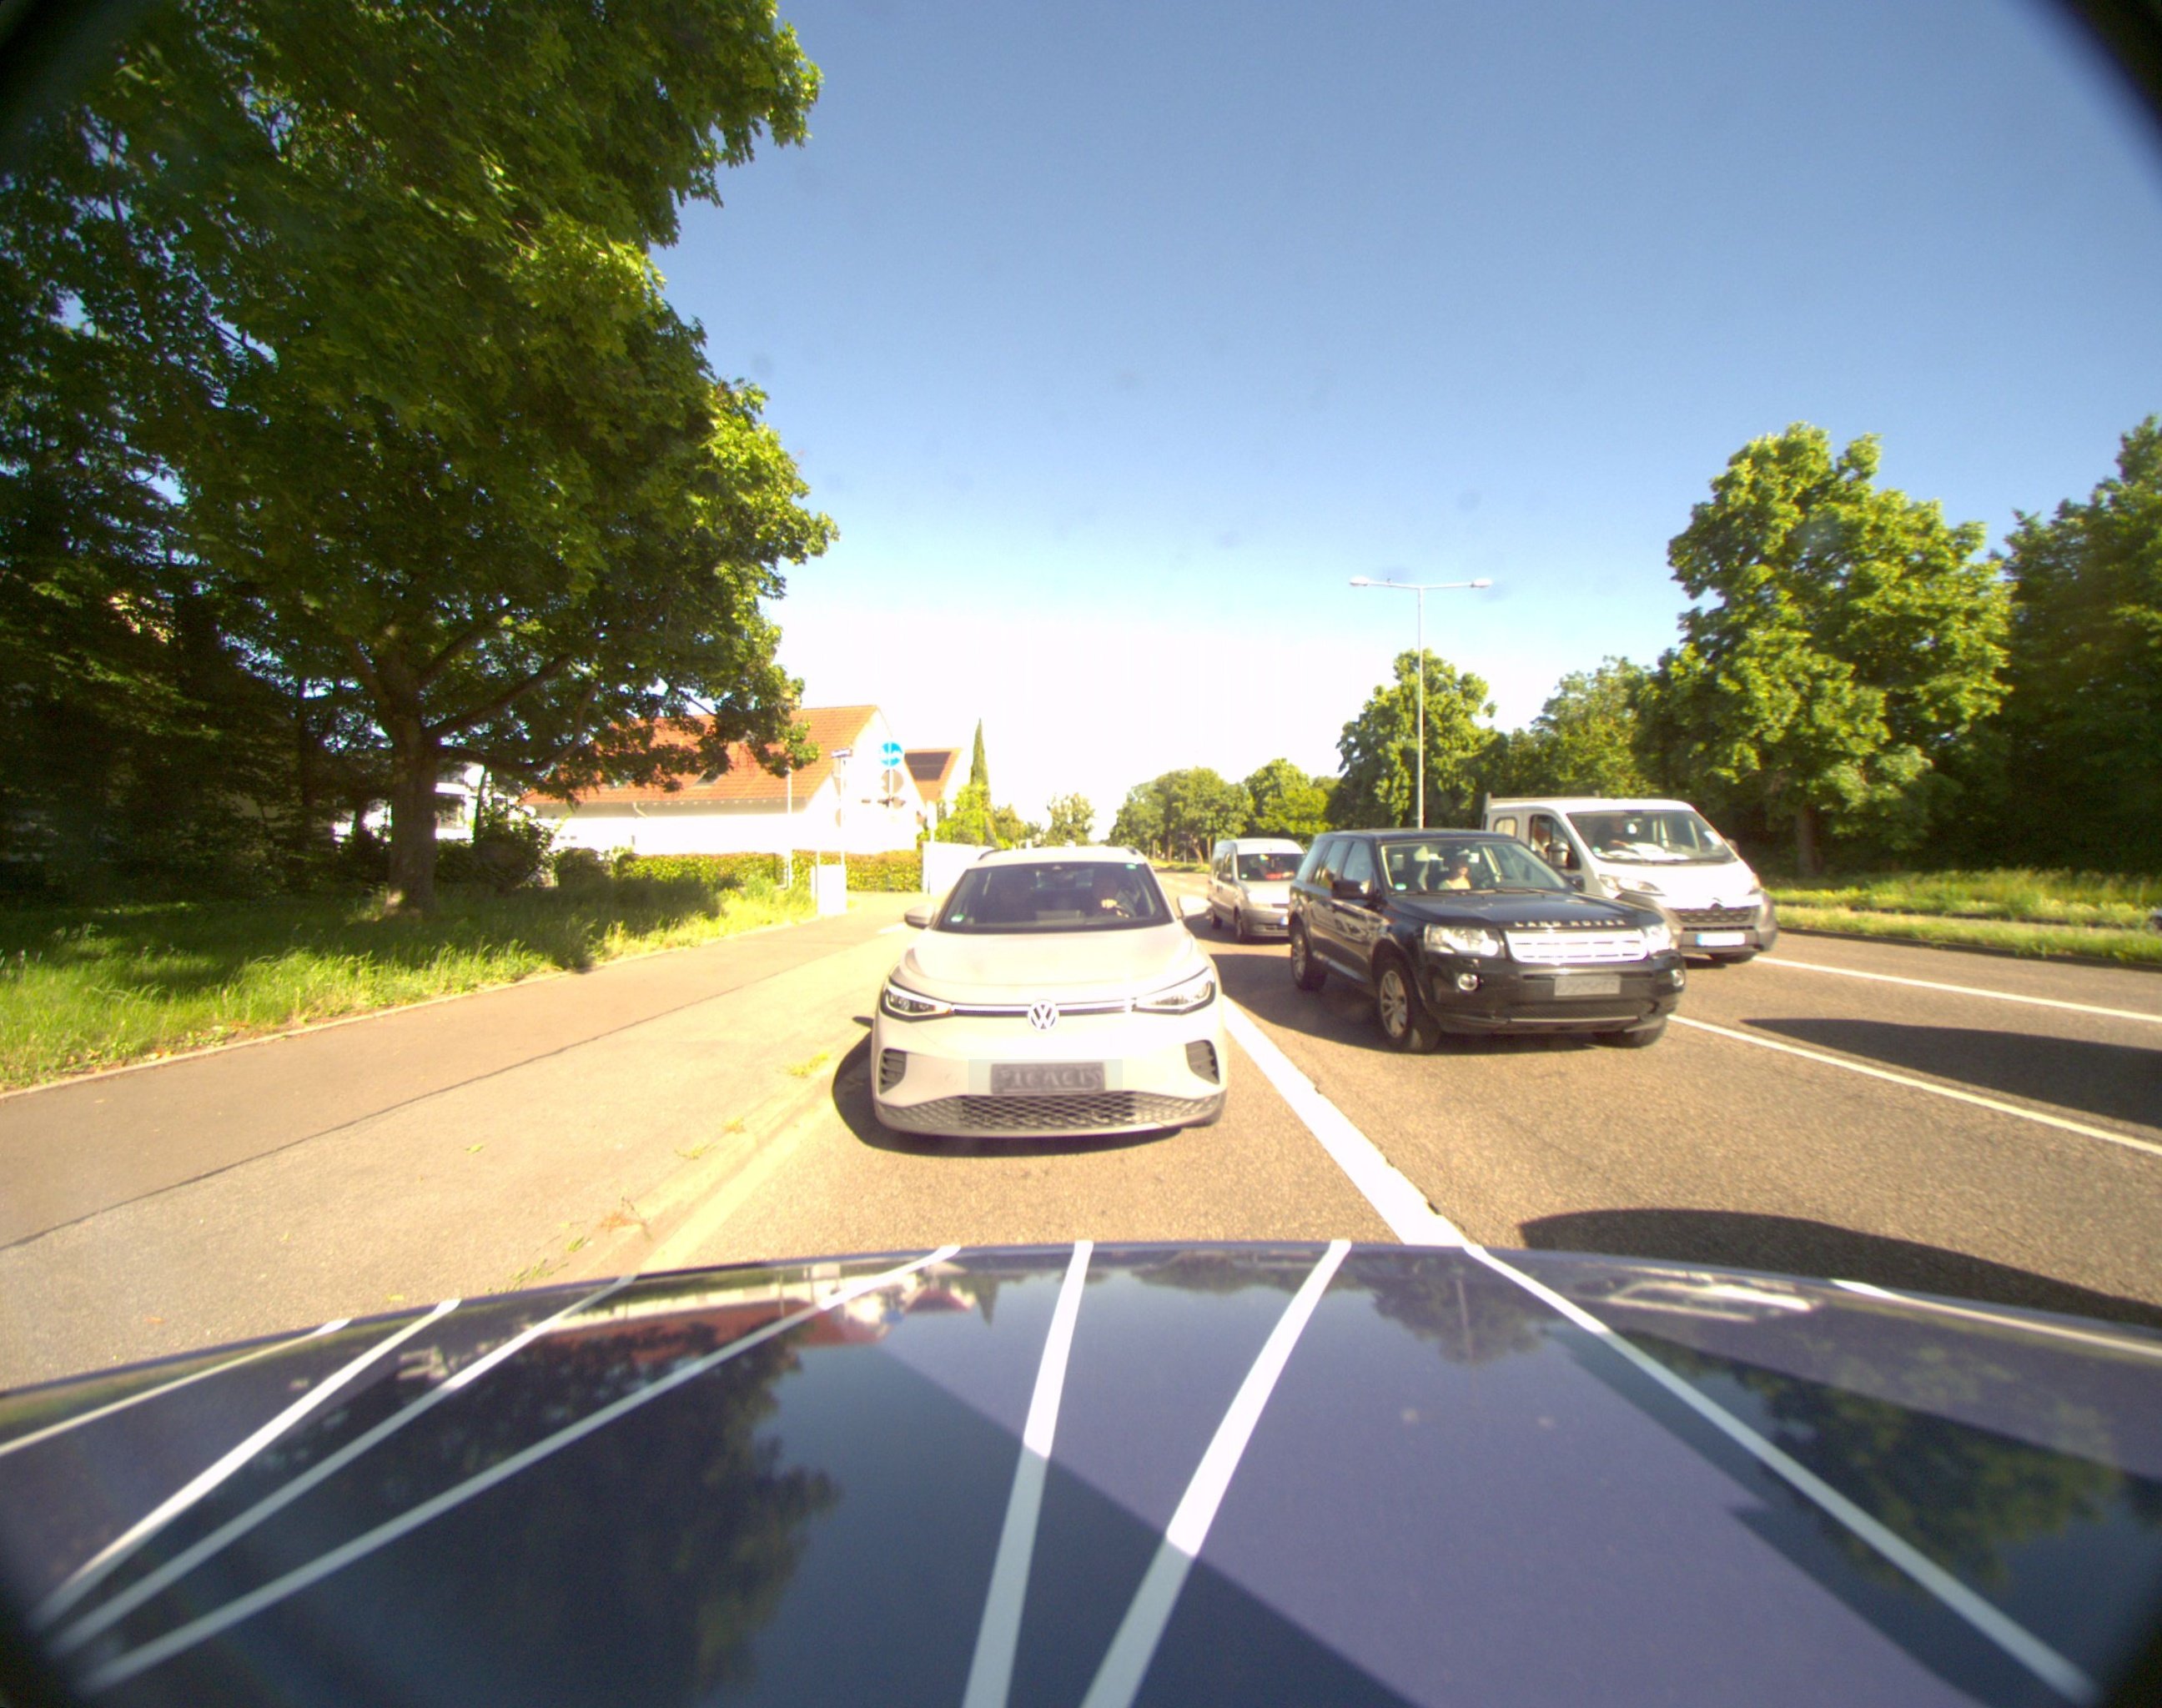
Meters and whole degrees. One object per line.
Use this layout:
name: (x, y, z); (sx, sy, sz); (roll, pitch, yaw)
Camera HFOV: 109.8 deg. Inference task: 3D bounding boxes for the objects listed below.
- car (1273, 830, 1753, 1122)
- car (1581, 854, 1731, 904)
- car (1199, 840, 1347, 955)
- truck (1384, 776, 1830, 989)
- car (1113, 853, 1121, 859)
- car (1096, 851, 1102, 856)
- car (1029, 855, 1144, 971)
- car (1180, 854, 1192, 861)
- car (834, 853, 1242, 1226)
car: (3.165, 0.715, 6.778); (1.816, 1.721, 4.386); (-2, 1, 1)
car: (19.137, 0.770, 25.555); (1.645, 1.552, 4.331); (0, 0, -2)
car: (3.324, 0.653, 13.973); (1.632, 1.741, 4.386); (-2, 1, 1)
truck: (7.208, 0.281, 11.851); (2.185, 2.307, 6.842); (-2, 1, 0)
car: (9.319, 0.566, 197.358); (1.704, 1.466, 3.931); (-1, 0, 0)
car: (5.709, -0.127, 240.903); (1.704, 1.466, 3.931); (0, 0, 1)
car: (0.108, 0.865, 13.026); (1.632, 1.586, 4.024); (-2, 1, 1)
car: (20.773, 0.671, 150.717); (1.792, 1.409, 4.000); (0, 0, 1)
car: (-0.171, 0.848, 5.583); (1.858, 1.679, 4.206); (0, 1, 1)
